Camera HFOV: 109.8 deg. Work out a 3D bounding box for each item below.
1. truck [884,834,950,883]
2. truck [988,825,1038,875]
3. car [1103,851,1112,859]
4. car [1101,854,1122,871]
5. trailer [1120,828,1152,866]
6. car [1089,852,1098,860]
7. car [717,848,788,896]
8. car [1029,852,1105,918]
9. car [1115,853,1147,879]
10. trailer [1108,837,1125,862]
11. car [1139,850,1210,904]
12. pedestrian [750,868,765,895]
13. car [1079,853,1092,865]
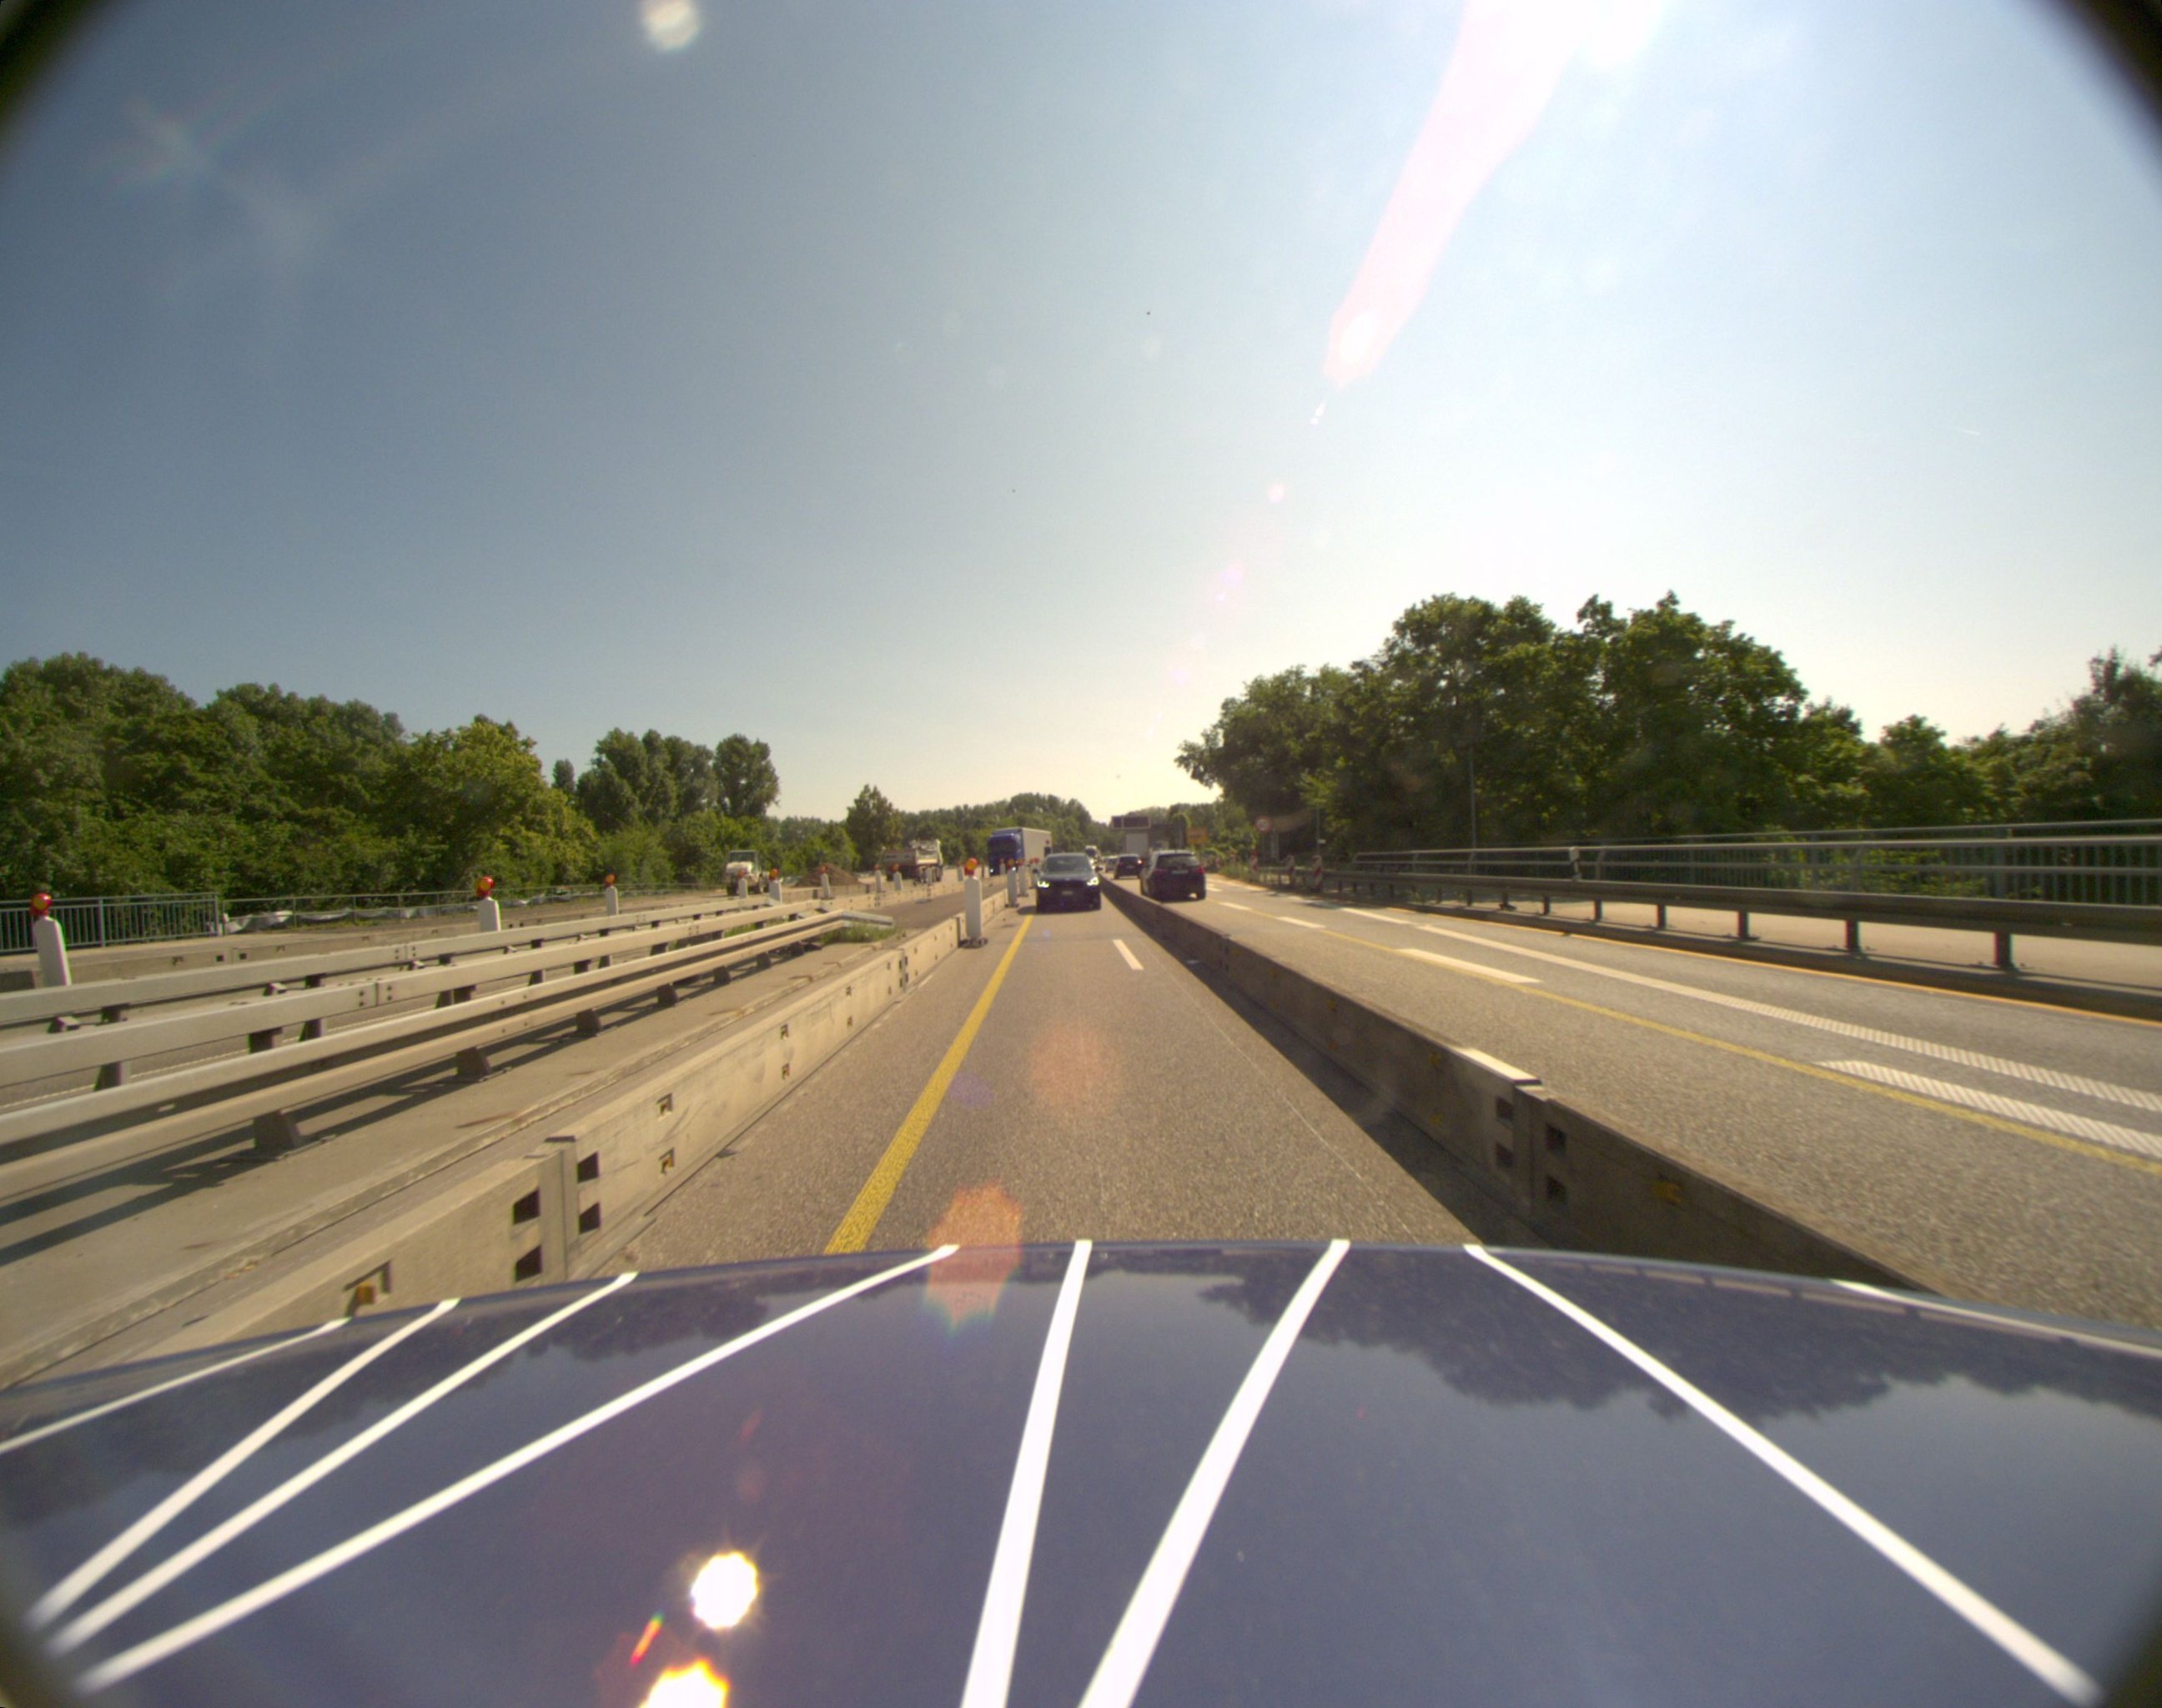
[{"bbox_3d":[-12.323,0.289,57.967,2.605,3.413,8.736,-1,0,3],"label":"truck"},{"bbox_3d":[-5.703,-0.330,65.157,2.860,3.962,8.667,-1,0,4],"label":"truck"},{"bbox_3d":[6.899,0.146,199.211,1.998,2.002,4.001,-1,0,6],"label":"car"},{"bbox_3d":[2.764,0.734,69.842,1.819,1.409,4.153,-2,0,1],"label":"car"},{"bbox_3d":[6.250,-0.723,87.977,2.810,4.019,13.468,-1,0,1],"label":"trailer"},{"bbox_3d":[2.811,0.440,169.777,1.747,1.621,4.093,-1,0,3],"label":"car"},{"bbox_3d":[-19.745,0.996,45.997,2.110,2.627,5.981,-1,0,-6],"label":"car"},{"bbox_3d":[-0.325,0.858,23.260,1.789,1.651,4.488,-4,0,4],"label":"car"},{"bbox_3d":[3.223,0.729,49.457,1.742,1.543,3.942,-2,0,0],"label":"car"},{"bbox_3d":[6.155,-0.865,133.854,2.626,4.103,14.067,-1,0,1],"label":"trailer"},{"bbox_3d":[3.130,0.726,26.340,1.868,1.622,4.565,-2,0,0],"label":"car"},{"bbox_3d":[-21.001,1.776,49.362,0.666,1.738,0.531,-2,1,-5],"label":"pedestrian"},{"bbox_3d":[0.659,0.680,105.612,1.747,1.621,4.092,-1,0,1],"label":"car"}]
